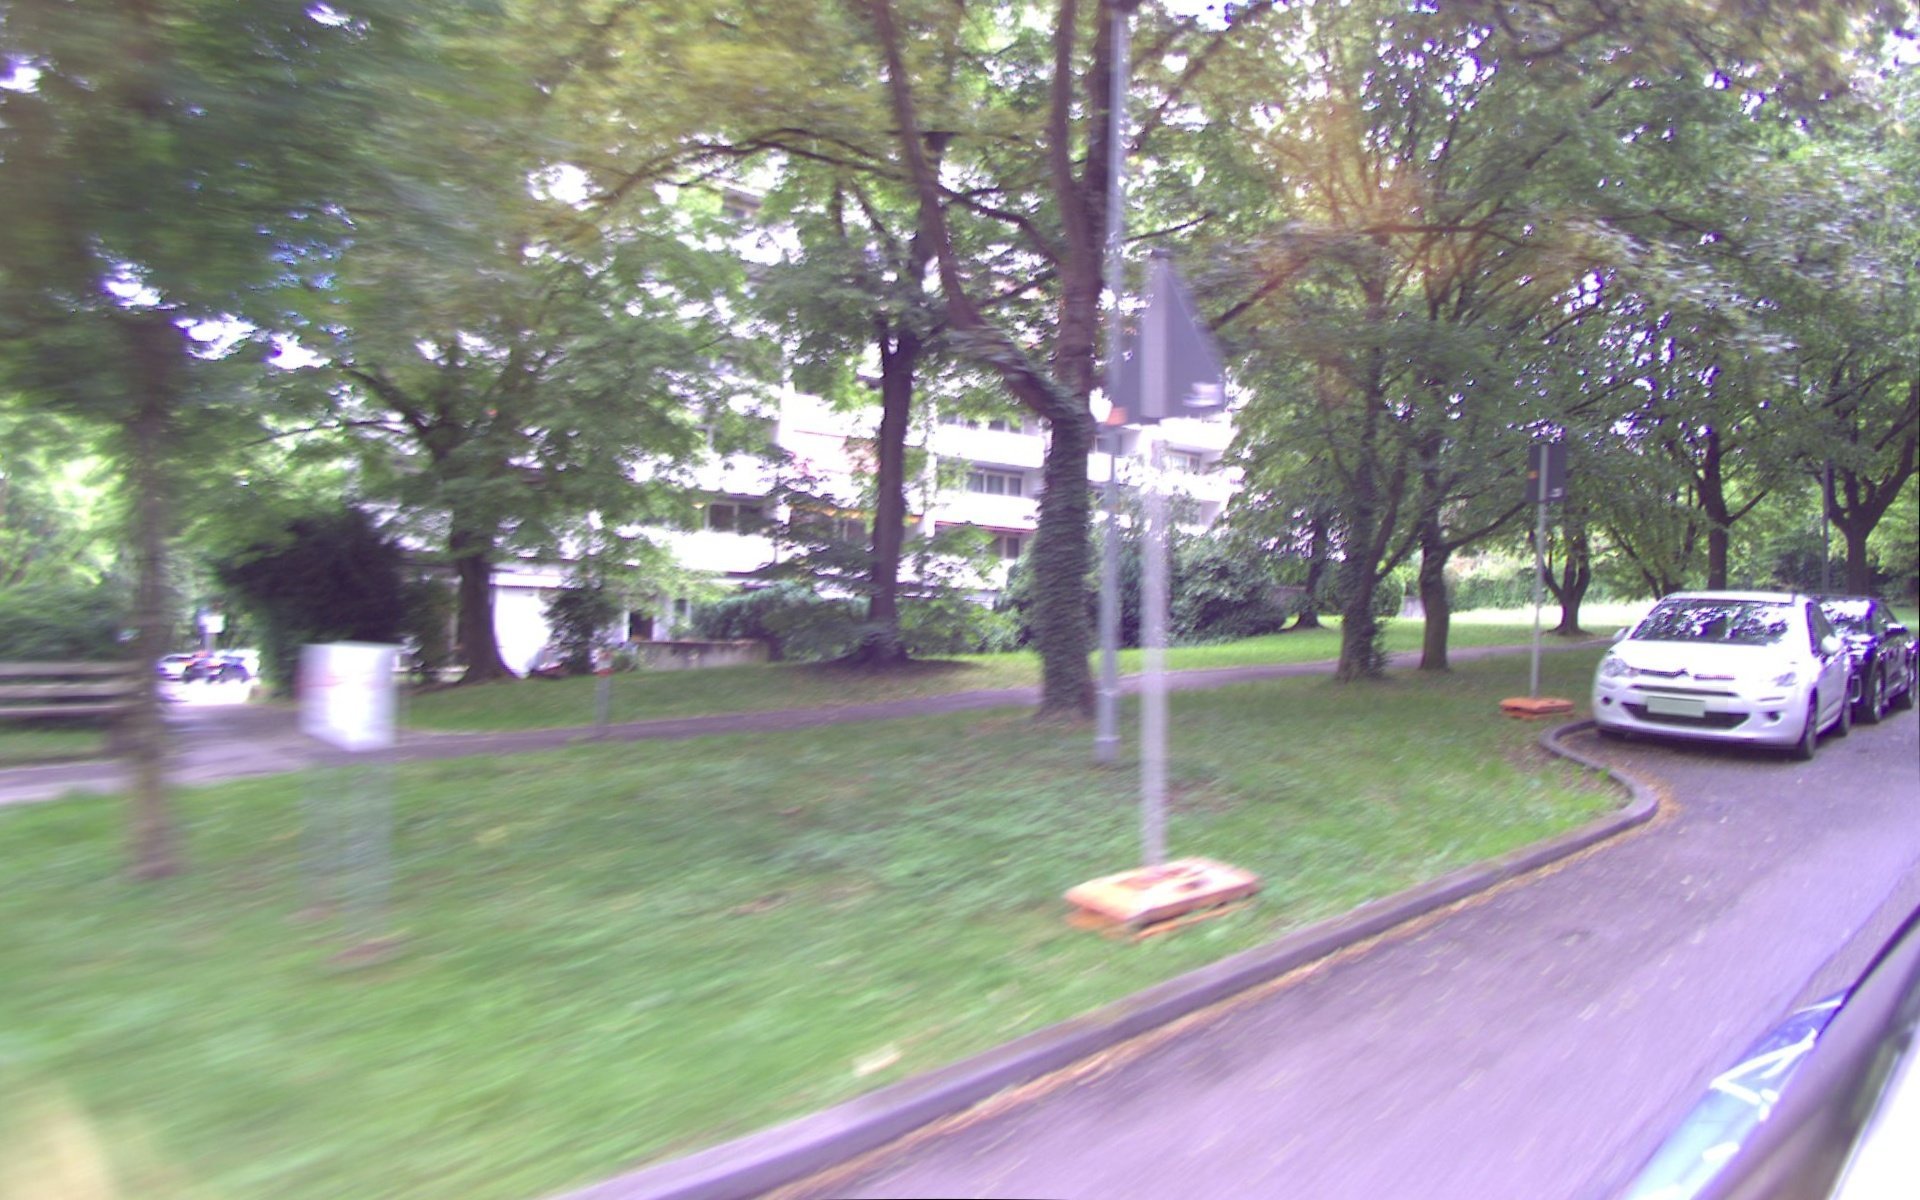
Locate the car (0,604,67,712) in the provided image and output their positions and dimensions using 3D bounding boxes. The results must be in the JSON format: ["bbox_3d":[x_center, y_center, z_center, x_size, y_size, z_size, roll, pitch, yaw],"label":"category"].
[{"bbox_3d":[-18.520,1.021,19.011,1.796,1.872,4.414,0,-1,-31],"label":"car"}]

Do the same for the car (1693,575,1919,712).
[{"bbox_3d":[11.430,0.483,13.369,4.107,1.542,1.778,0,0,-38],"label":"car"}]

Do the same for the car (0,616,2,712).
[{"bbox_3d":[-16.004,1.050,14.911,1.795,1.590,3.533,0,-1,-27],"label":"car"}]

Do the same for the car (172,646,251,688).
[{"bbox_3d":[-38.771,3.438,52.543,1.794,1.872,4.419,0,-1,-16],"label":"car"}]

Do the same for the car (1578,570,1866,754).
[{"bbox_3d":[7.913,0.508,10.388,3.718,1.542,1.775,0,0,-44],"label":"car"}]

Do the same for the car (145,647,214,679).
[{"bbox_3d":[-43.672,3.498,56.711,1.617,1.505,3.683,0,0,-11],"label":"car"}]
